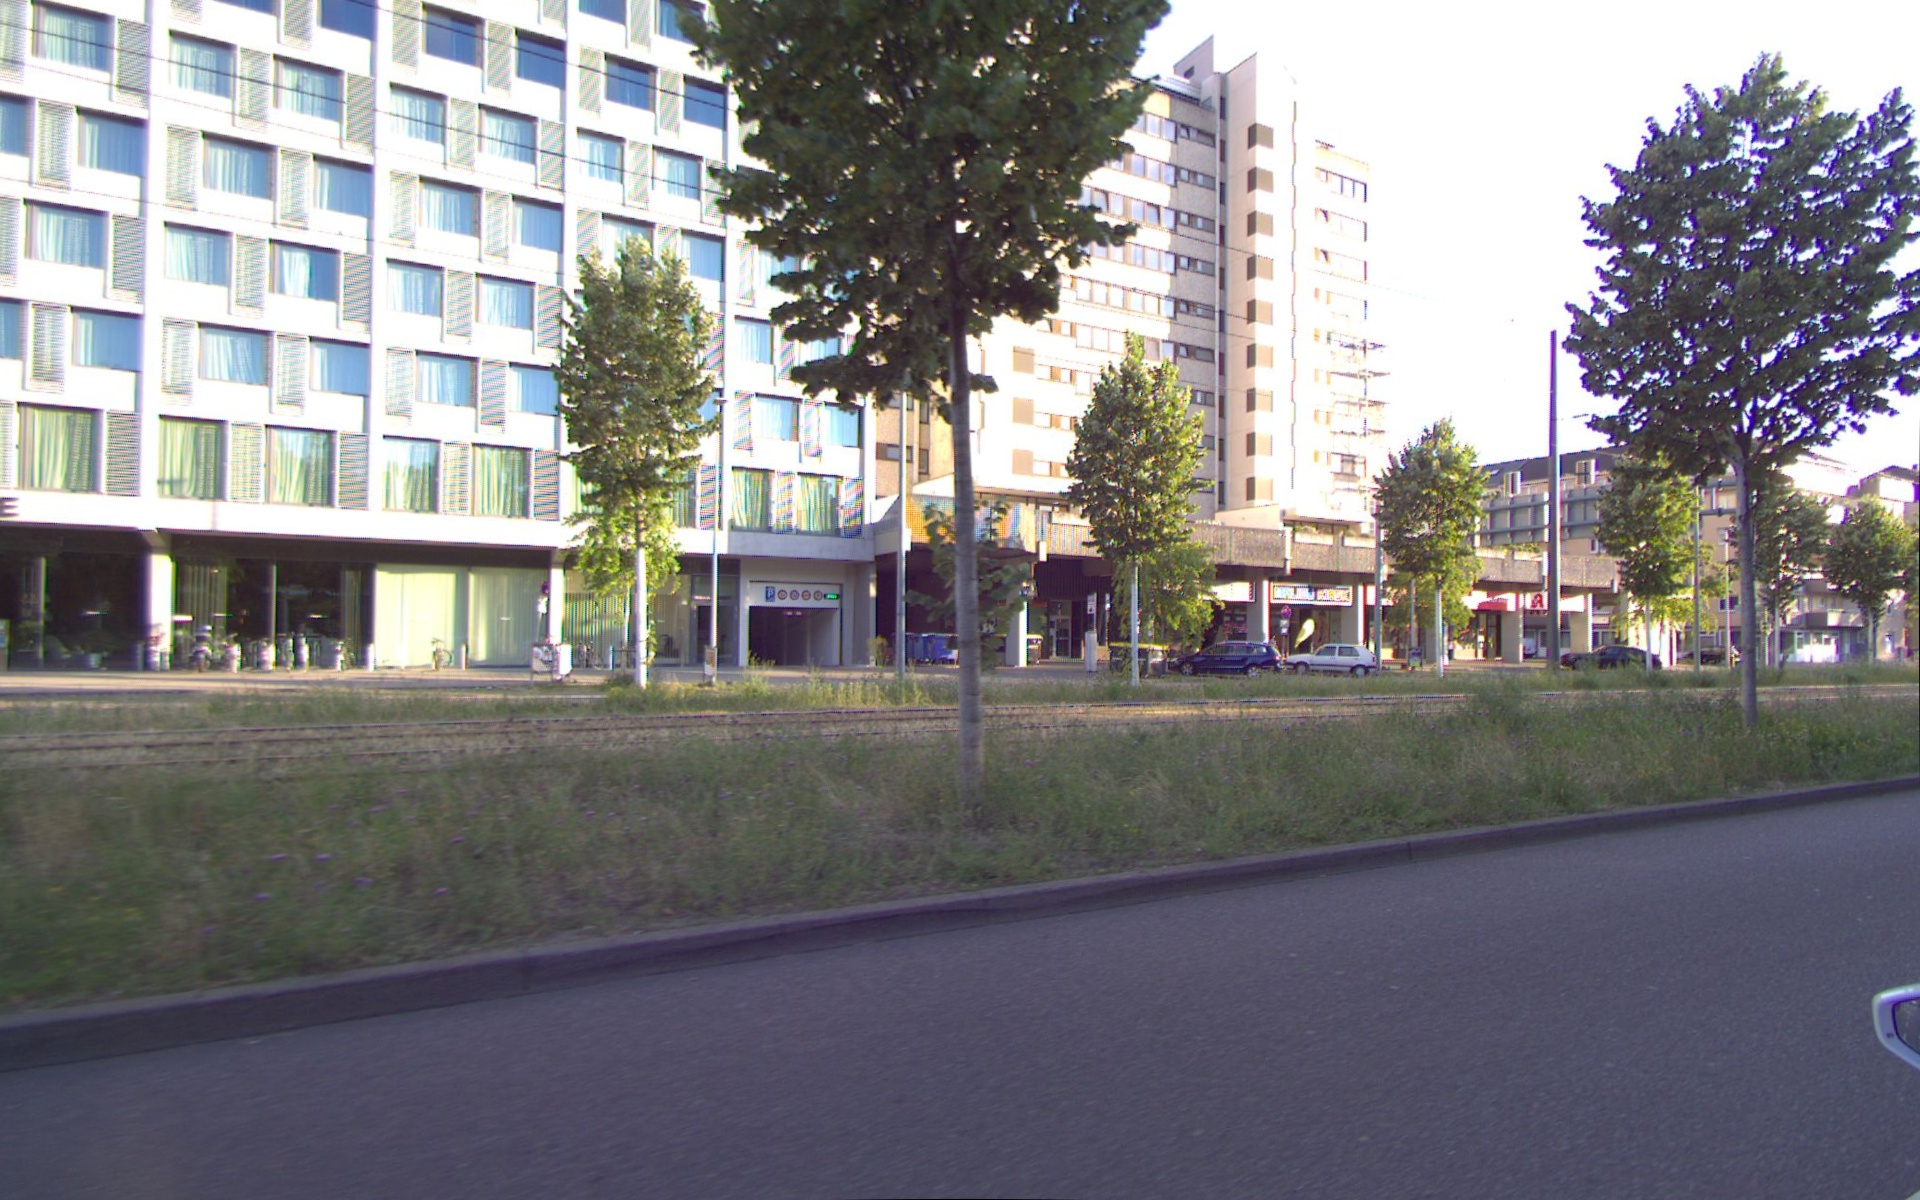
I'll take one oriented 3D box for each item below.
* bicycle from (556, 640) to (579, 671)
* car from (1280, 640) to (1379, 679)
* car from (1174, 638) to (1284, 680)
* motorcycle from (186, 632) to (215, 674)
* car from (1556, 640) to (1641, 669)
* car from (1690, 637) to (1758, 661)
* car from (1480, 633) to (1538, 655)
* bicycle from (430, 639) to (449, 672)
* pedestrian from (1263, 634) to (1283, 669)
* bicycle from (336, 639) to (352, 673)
[{"bbox_3d":[-13.647,1.922,34.896,0.416,1.033,1.778,2,-2,-31],"label":"bicycle"},{"bbox_3d":[16.573,2.639,45.073,4.052,1.455,1.824,2,0,23],"label":"car"},{"bbox_3d":[11.201,2.425,41.816,4.202,1.611,2.009,0,-2,22],"label":"car"},{"bbox_3d":[-22.942,1.587,30.332,0.512,1.187,1.874,2,-2,-43],"label":"motorcycle"},{"bbox_3d":[35.008,2.987,55.170,3.657,1.469,1.745,0,-3,20],"label":"car"},{"bbox_3d":[62.340,3.967,82.033,2.165,1.870,3.917,2,-2,-29],"label":"car"},{"bbox_3d":[52.599,4.231,96.326,2.140,2.016,4.468,2,-2,-29],"label":"car"},{"bbox_3d":[-17.261,1.821,33.304,0.416,1.033,1.778,2,-2,-31],"label":"bicycle"},{"bbox_3d":[15.206,2.498,48.800,0.653,1.683,0.661,2,-1,-27],"label":"pedestrian"},{"bbox_3d":[-19.558,1.763,31.906,0.416,1.033,1.733,2,-2,-31],"label":"bicycle"}]
